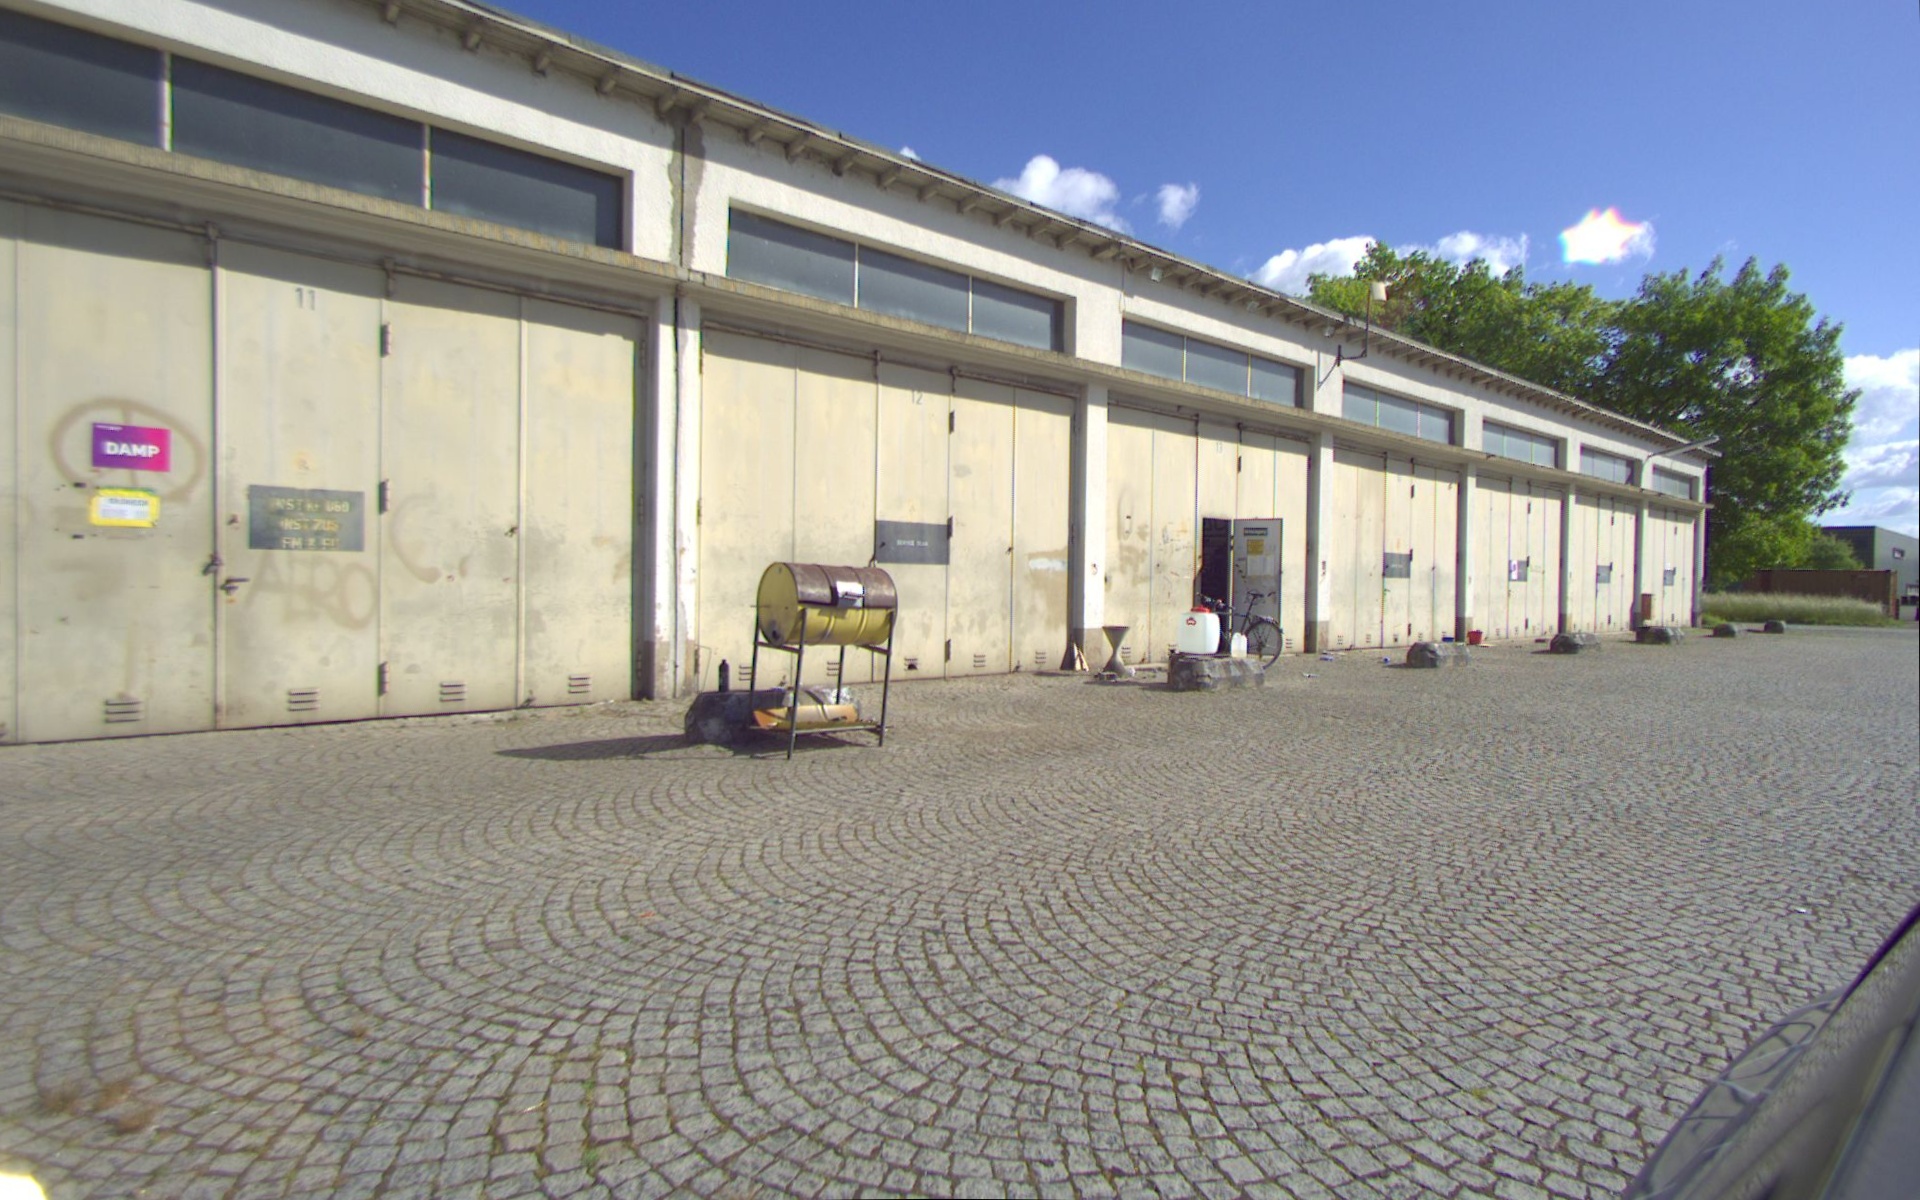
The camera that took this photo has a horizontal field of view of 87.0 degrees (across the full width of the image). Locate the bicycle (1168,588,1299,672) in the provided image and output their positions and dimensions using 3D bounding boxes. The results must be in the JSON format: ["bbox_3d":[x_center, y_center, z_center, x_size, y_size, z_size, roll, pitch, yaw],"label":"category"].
[{"bbox_3d":[3.808,0.389,14.052,1.787,1.081,0.668,0,1,-29],"label":"bicycle"}]
